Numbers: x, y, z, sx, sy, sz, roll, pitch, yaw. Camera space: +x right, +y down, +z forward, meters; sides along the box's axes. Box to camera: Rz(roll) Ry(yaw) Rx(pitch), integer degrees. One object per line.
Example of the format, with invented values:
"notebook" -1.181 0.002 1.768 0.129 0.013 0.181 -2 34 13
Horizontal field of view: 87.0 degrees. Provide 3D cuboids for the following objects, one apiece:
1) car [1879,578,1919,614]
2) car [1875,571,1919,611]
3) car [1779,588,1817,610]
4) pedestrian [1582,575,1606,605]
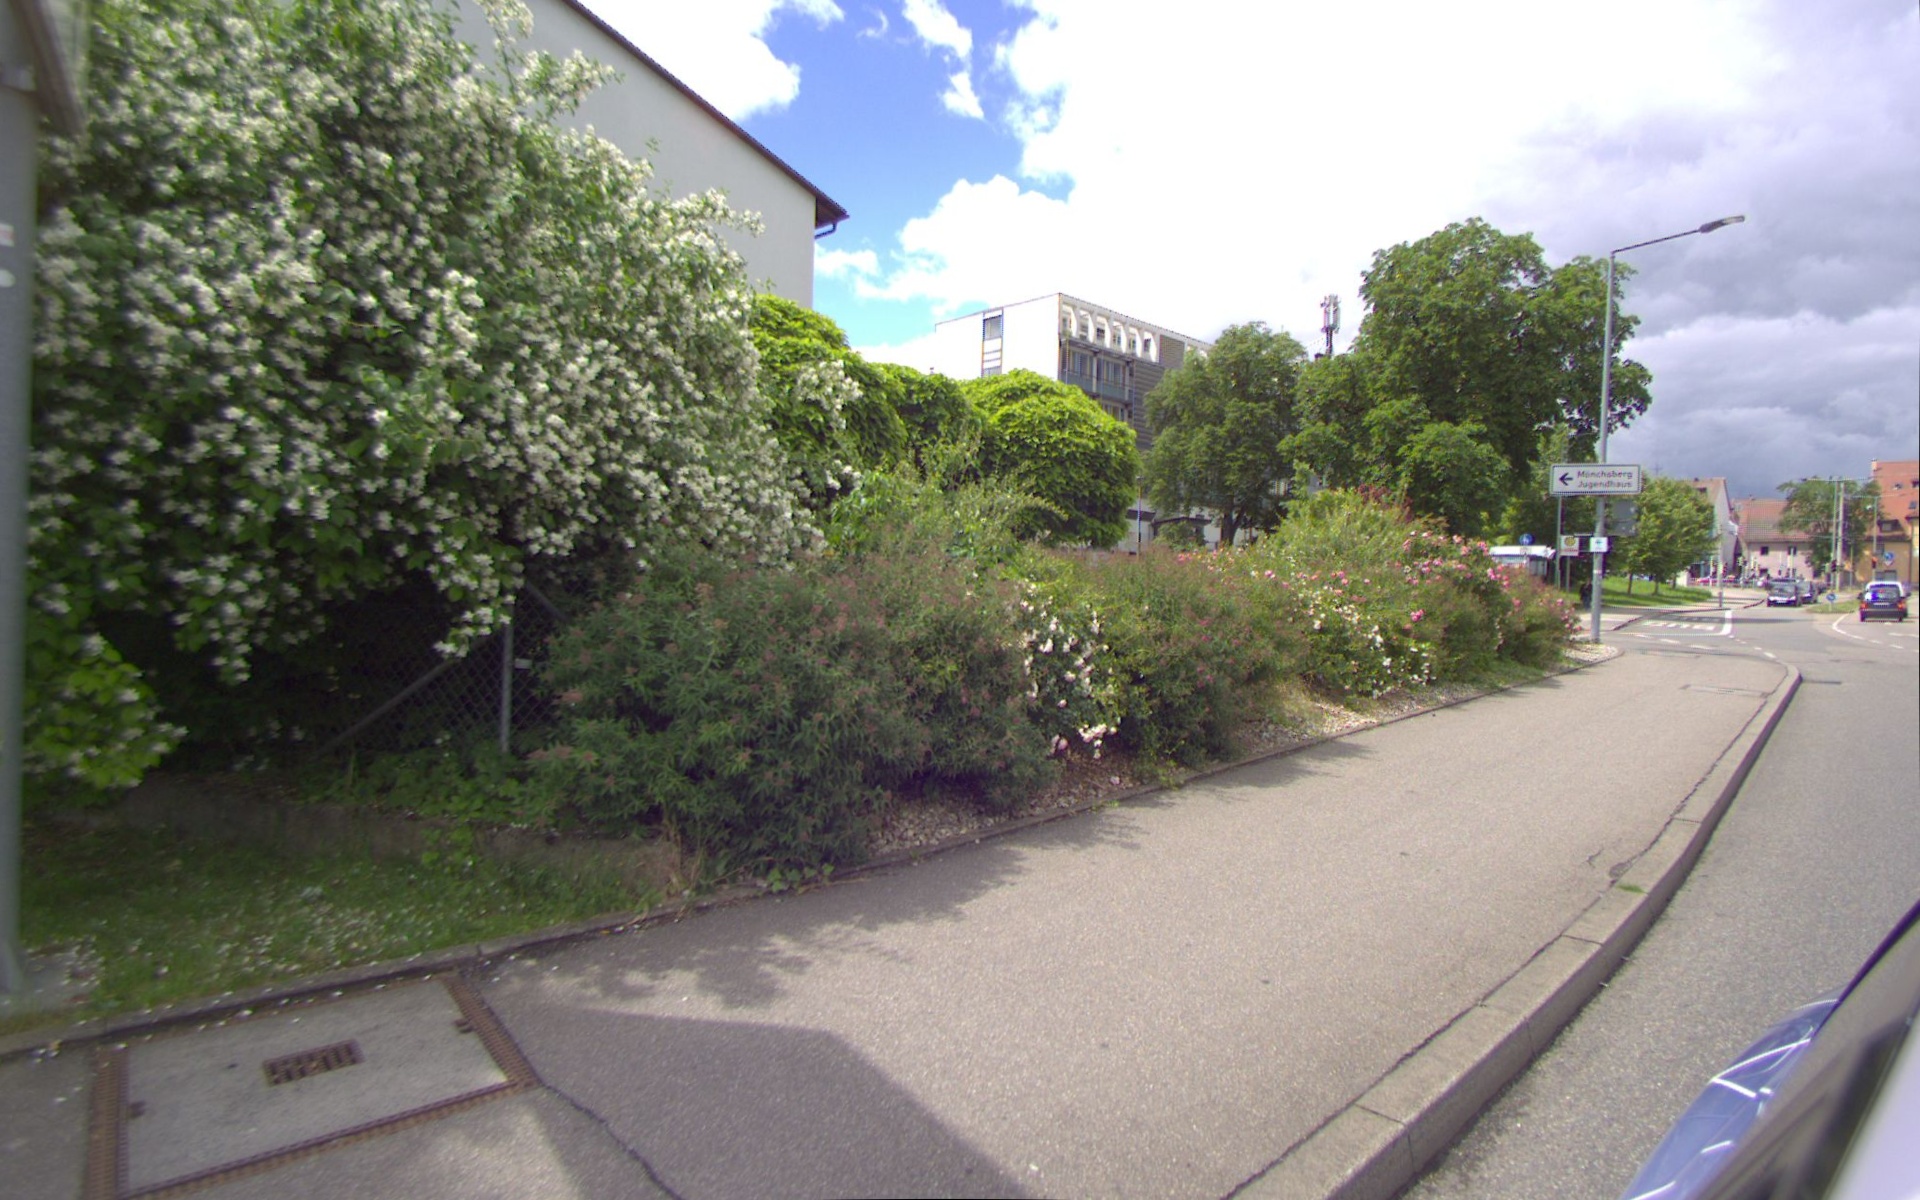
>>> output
"car" 43.150 -0.221 46.254 1.530 1.570 3.672 0 1 45
"car" 47.790 -0.417 51.463 1.761 1.684 4.437 3 -1 41
"car" 59.481 -0.039 71.847 1.877 1.447 3.938 2 0 42
"pedestrian" 31.037 -0.513 49.546 0.820 1.442 0.817 2 3 44
